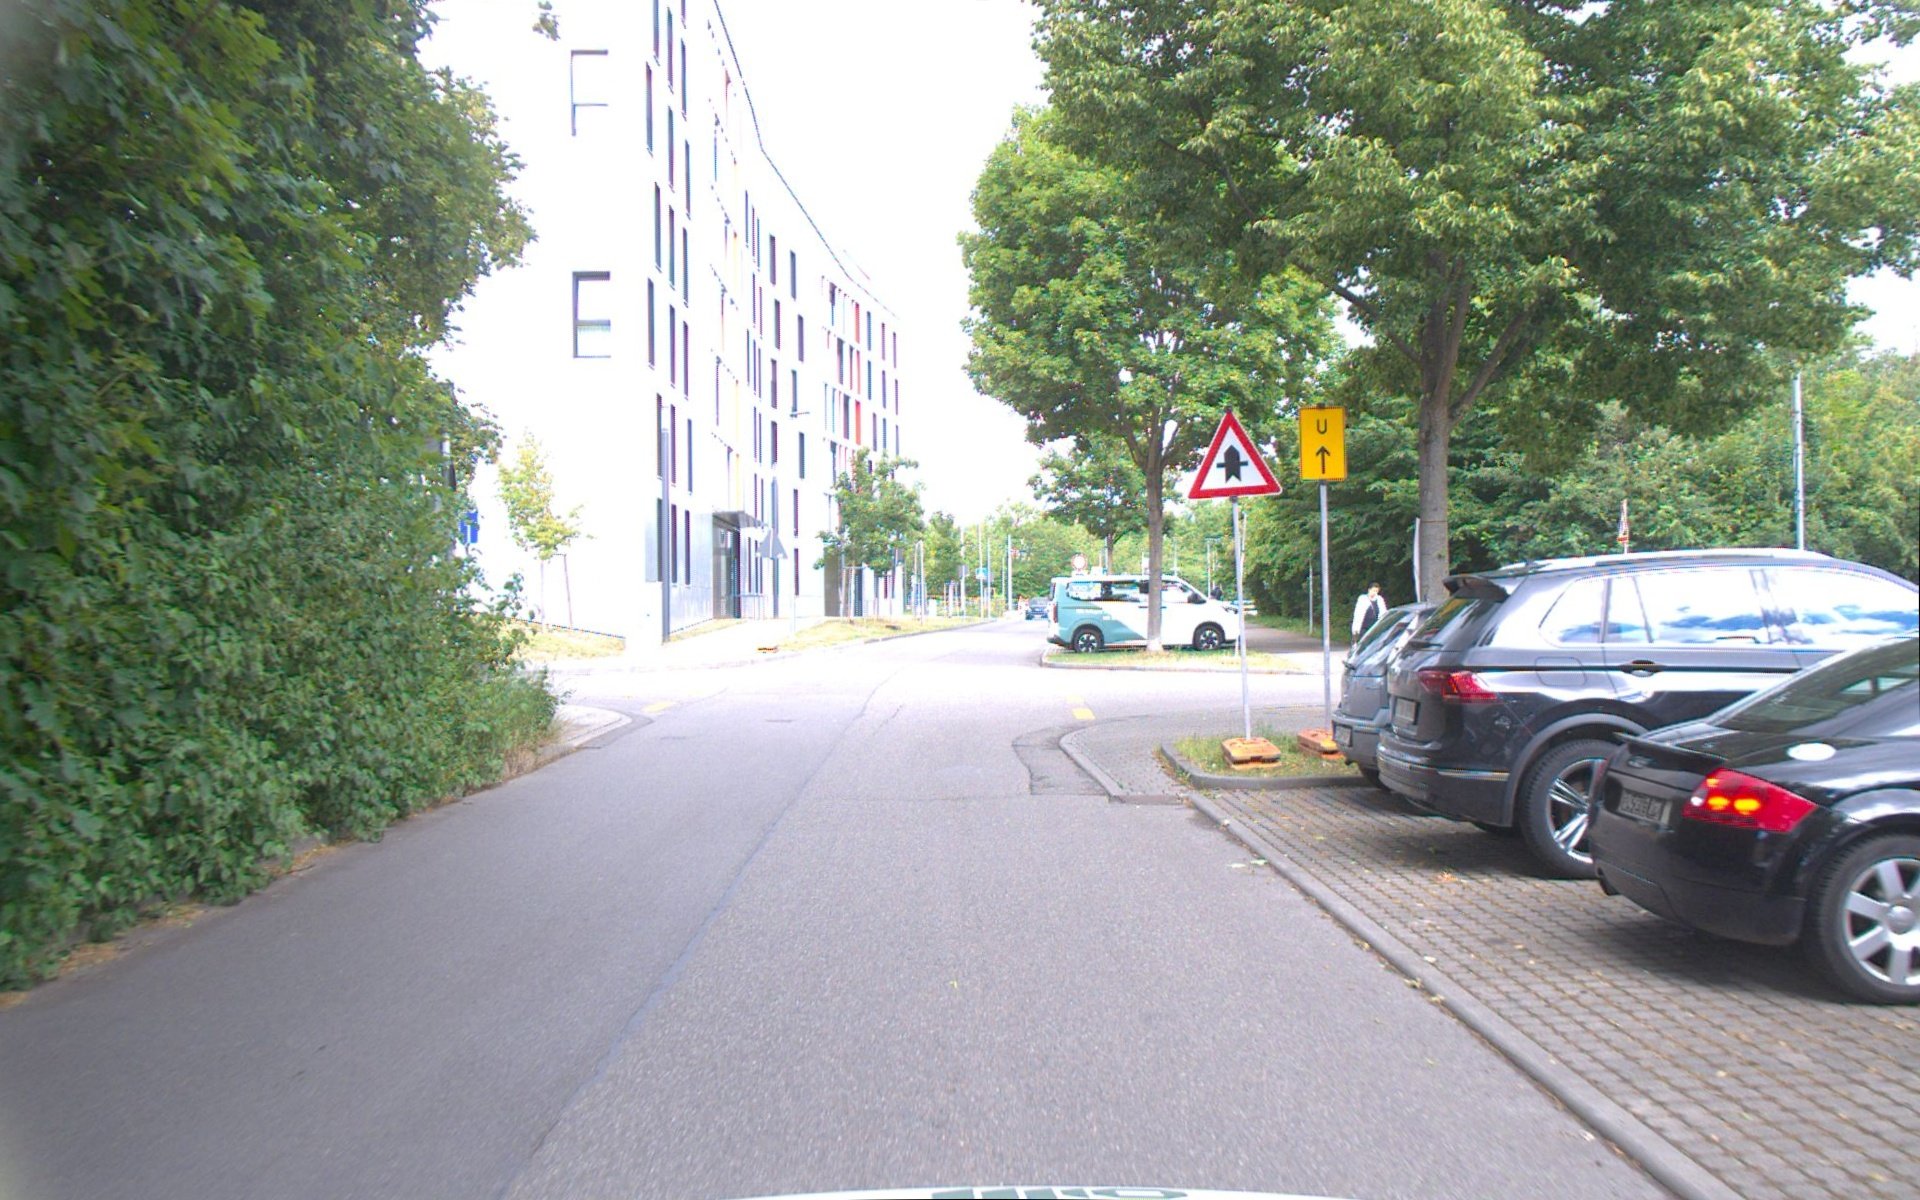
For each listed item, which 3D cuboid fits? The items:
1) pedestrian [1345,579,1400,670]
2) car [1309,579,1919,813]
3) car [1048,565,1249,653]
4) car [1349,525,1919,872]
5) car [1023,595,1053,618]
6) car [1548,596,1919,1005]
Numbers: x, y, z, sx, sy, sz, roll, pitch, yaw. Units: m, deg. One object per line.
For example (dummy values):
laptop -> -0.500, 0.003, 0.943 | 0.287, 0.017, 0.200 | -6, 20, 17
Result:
pedestrian -> 7.370, 0.435, 29.574 | 0.817, 1.604, 0.810 | 0, 0, 5
car -> 4.592, 0.643, 11.904 | 3.753, 1.427, 1.852 | -2, -1, 1
car -> 4.735, 0.215, 42.087 | 4.870, 2.006, 1.847 | -2, 0, 0
car -> 4.448, 0.484, 9.355 | 4.037, 1.678, 1.981 | -2, -1, 3
car -> 5.009, 0.419, 105.852 | 1.575, 1.412, 4.003 | 1, 0, 7
car -> 4.549, 0.660, 6.597 | 3.752, 1.382, 1.823 | -2, -1, 3
